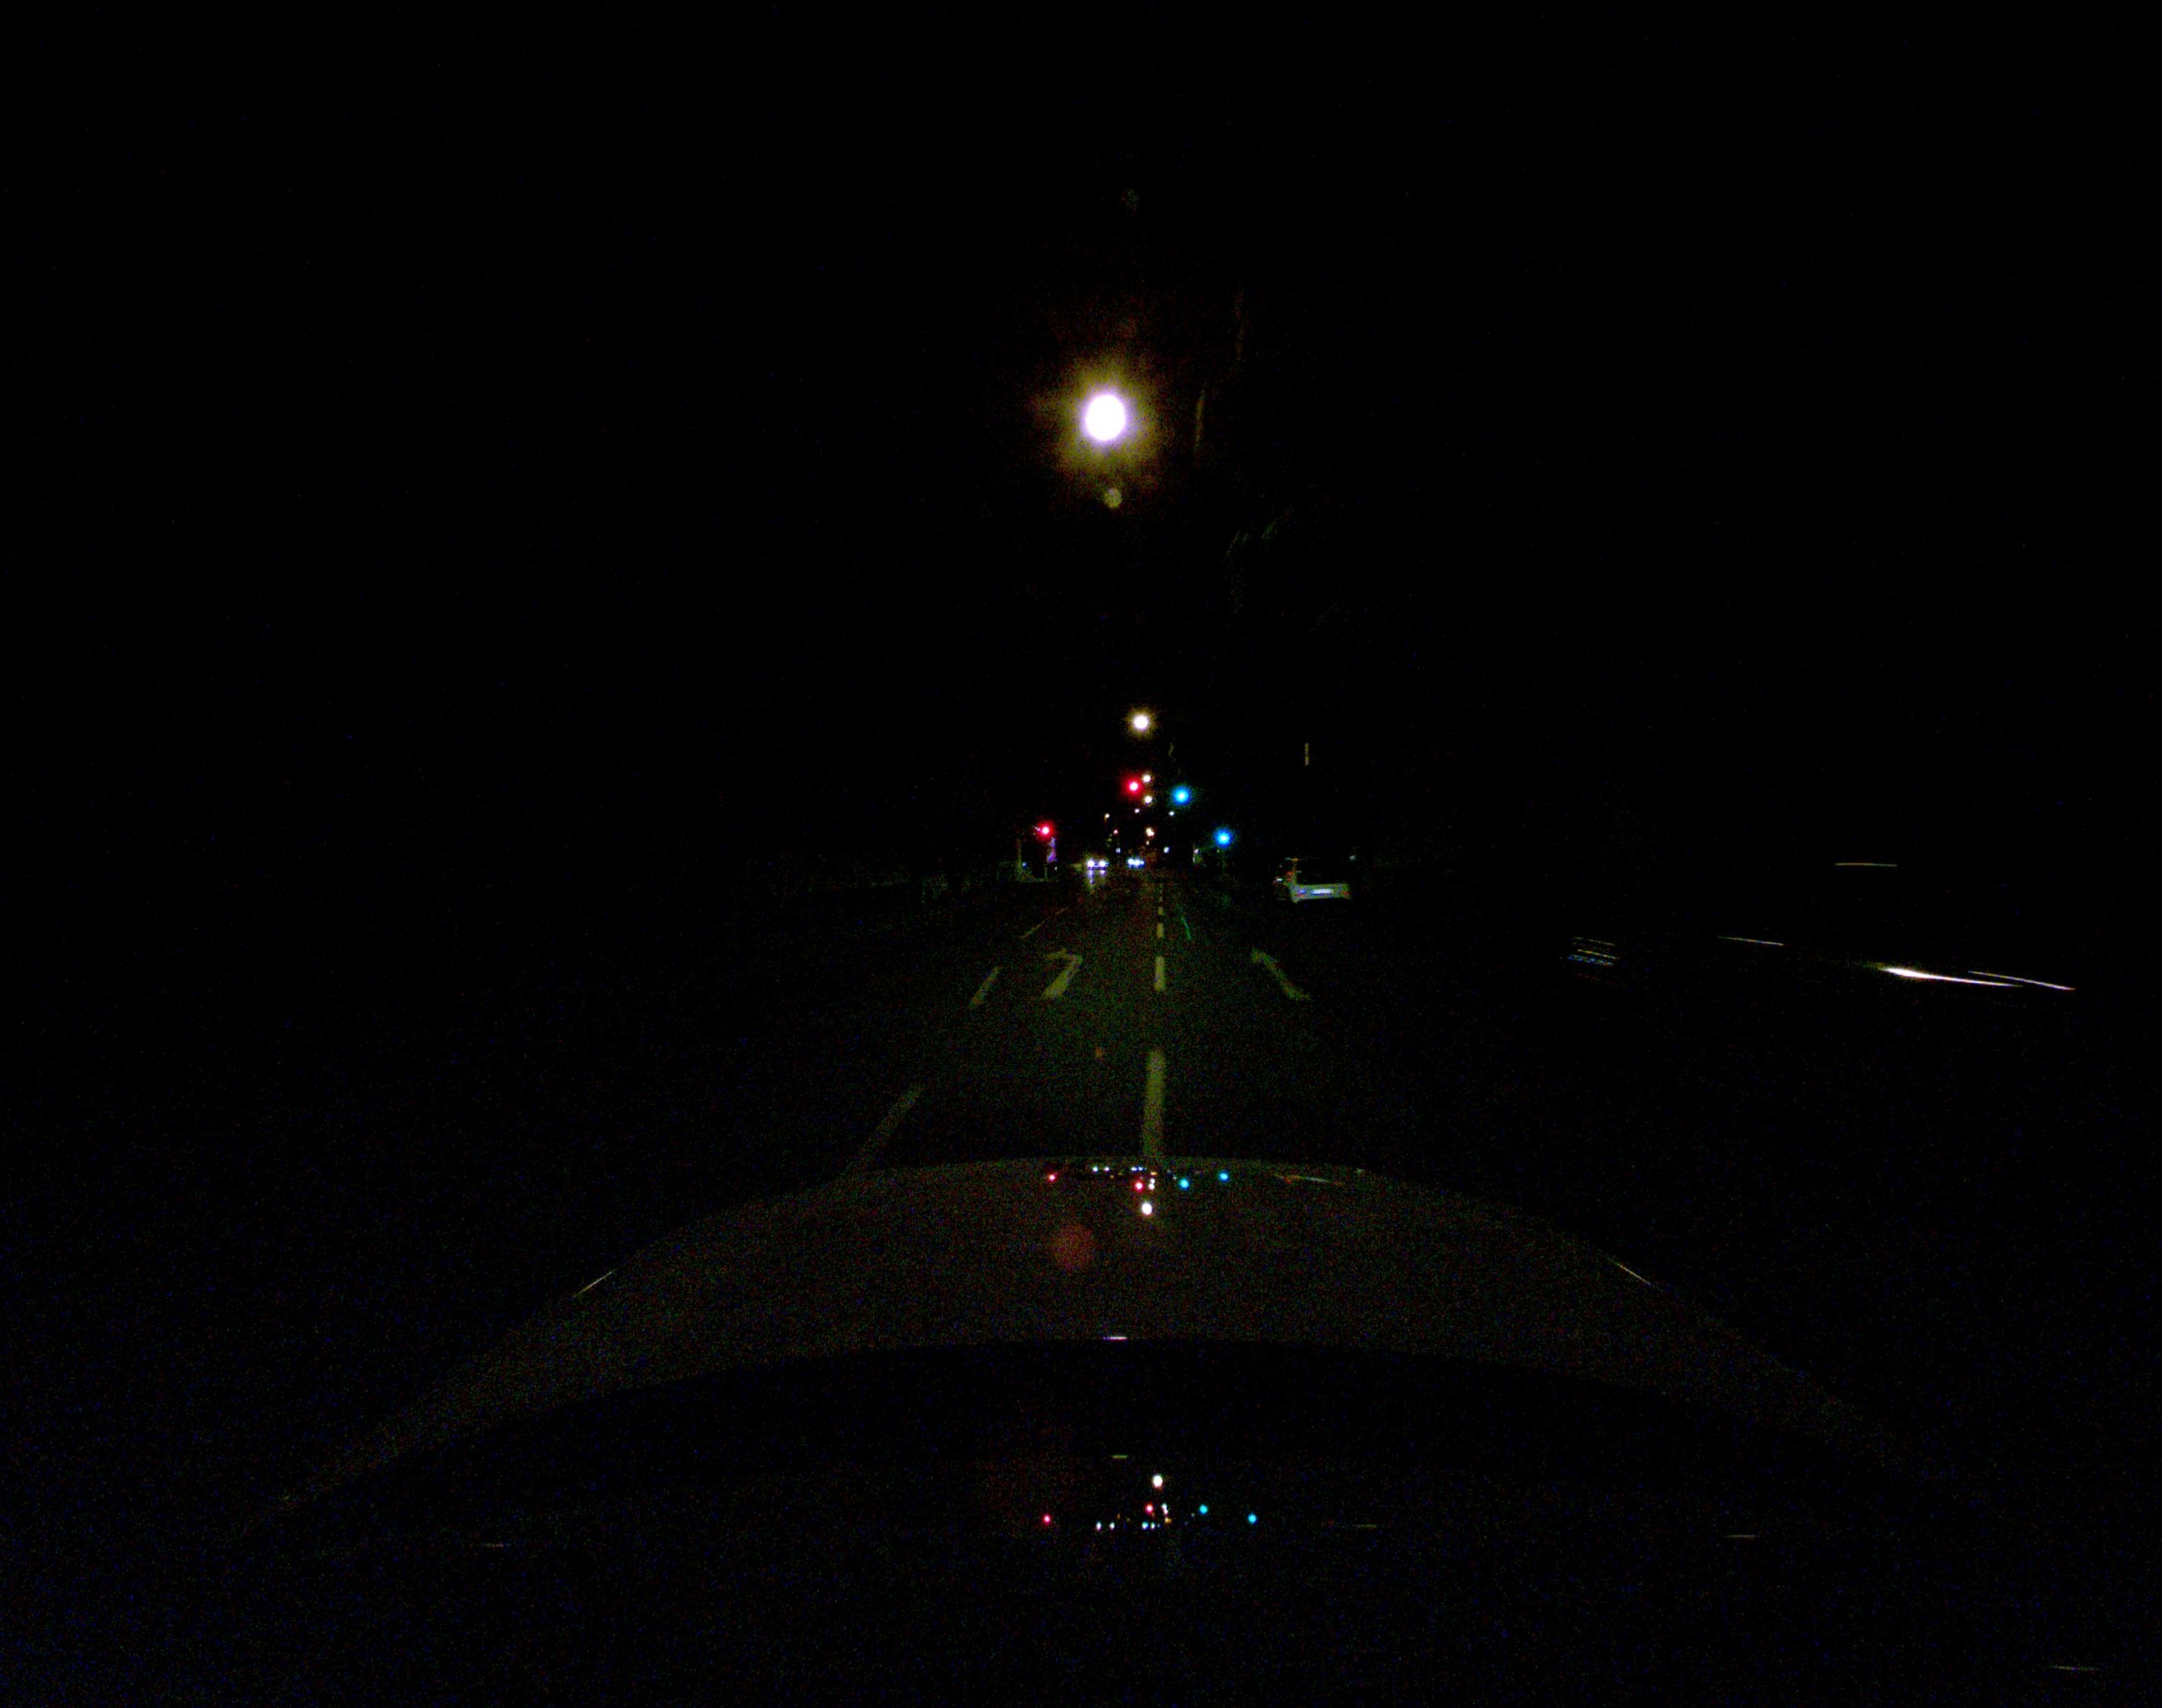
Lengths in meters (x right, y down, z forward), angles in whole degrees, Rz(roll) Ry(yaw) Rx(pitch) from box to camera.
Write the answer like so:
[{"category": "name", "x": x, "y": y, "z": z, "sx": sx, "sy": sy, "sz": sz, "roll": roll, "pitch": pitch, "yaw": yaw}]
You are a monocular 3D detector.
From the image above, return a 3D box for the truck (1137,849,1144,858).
[{"category": "truck", "x": 18.246, "y": -0.188, "z": 249.934, "sx": 2.077, "sy": 2.848, "sz": 5.837, "roll": 0, "pitch": 0, "yaw": 4}]

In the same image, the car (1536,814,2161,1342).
[{"category": "car", "x": 4.180, "y": 0.635, "z": 3.902, "sx": 1.852, "sy": 1.553, "sz": 4.048, "roll": -3, "pitch": 0, "yaw": 3}]

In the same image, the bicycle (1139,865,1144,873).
[{"category": "bicycle", "x": 8.028, "y": 1.980, "z": 108.261, "sx": 0.693, "sy": 1.149, "sz": 1.953, "roll": 0, "pitch": -1, "yaw": 5}]

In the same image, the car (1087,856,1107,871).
[{"category": "car", "x": 1.744, "y": 0.998, "z": 87.396, "sx": 1.848, "sy": 1.534, "sz": 4.033, "roll": 0, "pitch": 0, "yaw": 5}]

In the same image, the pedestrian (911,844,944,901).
[{"category": "pedestrian", "x": -4.754, "y": 0.573, "z": 25.253, "sx": 0.739, "sy": 1.745, "sz": 1.104, "roll": 0, "pitch": -1, "yaw": 4}]

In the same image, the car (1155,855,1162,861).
[{"category": "car", "x": 18.916, "y": 0.895, "z": 199.255, "sx": 1.626, "sy": 1.452, "sz": 3.489, "roll": 0, "pitch": 0, "yaw": 5}]

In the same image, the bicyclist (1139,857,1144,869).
[{"category": "bicyclist", "x": 8.026, "y": 1.171, "z": 108.281, "sx": 0.687, "sy": 1.637, "sz": 0.897, "roll": 0, "pitch": -1, "yaw": 5}]

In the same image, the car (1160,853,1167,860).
[{"category": "car", "x": 18.509, "y": 0.561, "z": 183.228, "sx": 1.626, "sy": 1.452, "sz": 3.489, "roll": 0, "pitch": 0, "yaw": 5}]

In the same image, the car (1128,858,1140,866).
[{"category": "car", "x": 9.288, "y": 1.340, "z": 142.930, "sx": 1.908, "sy": 1.388, "sz": 4.588, "roll": 0, "pitch": 0, "yaw": 5}]

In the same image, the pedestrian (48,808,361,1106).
[{"category": "pedestrian", "x": -5.445, "y": 0.587, "z": 5.156, "sx": 0.739, "sy": 1.672, "sz": 1.104, "roll": 0, "pitch": -1, "yaw": 4}]

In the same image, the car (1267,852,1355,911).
[{"category": "car", "x": 6.395, "y": 0.728, "z": 23.015, "sx": 1.660, "sy": 1.484, "sz": 3.607, "roll": -2, "pitch": 0, "yaw": 4}]

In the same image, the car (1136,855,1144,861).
[{"category": "car", "x": 14.594, "y": 0.974, "z": 200.954, "sx": 1.807, "sy": 1.491, "sz": 4.004, "roll": 0, "pitch": 0, "yaw": 4}]

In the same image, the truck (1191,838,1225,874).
[{"category": "truck", "x": 11.499, "y": 0.172, "z": 74.345, "sx": 2.736, "sy": 3.110, "sz": 6.268, "roll": 0, "pitch": 0, "yaw": 6}]

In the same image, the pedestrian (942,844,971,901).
[{"category": "pedestrian", "x": -3.912, "y": 0.573, "z": 25.686, "sx": 0.672, "sy": 1.745, "sz": 1.030, "roll": 0, "pitch": -1, "yaw": 4}]
